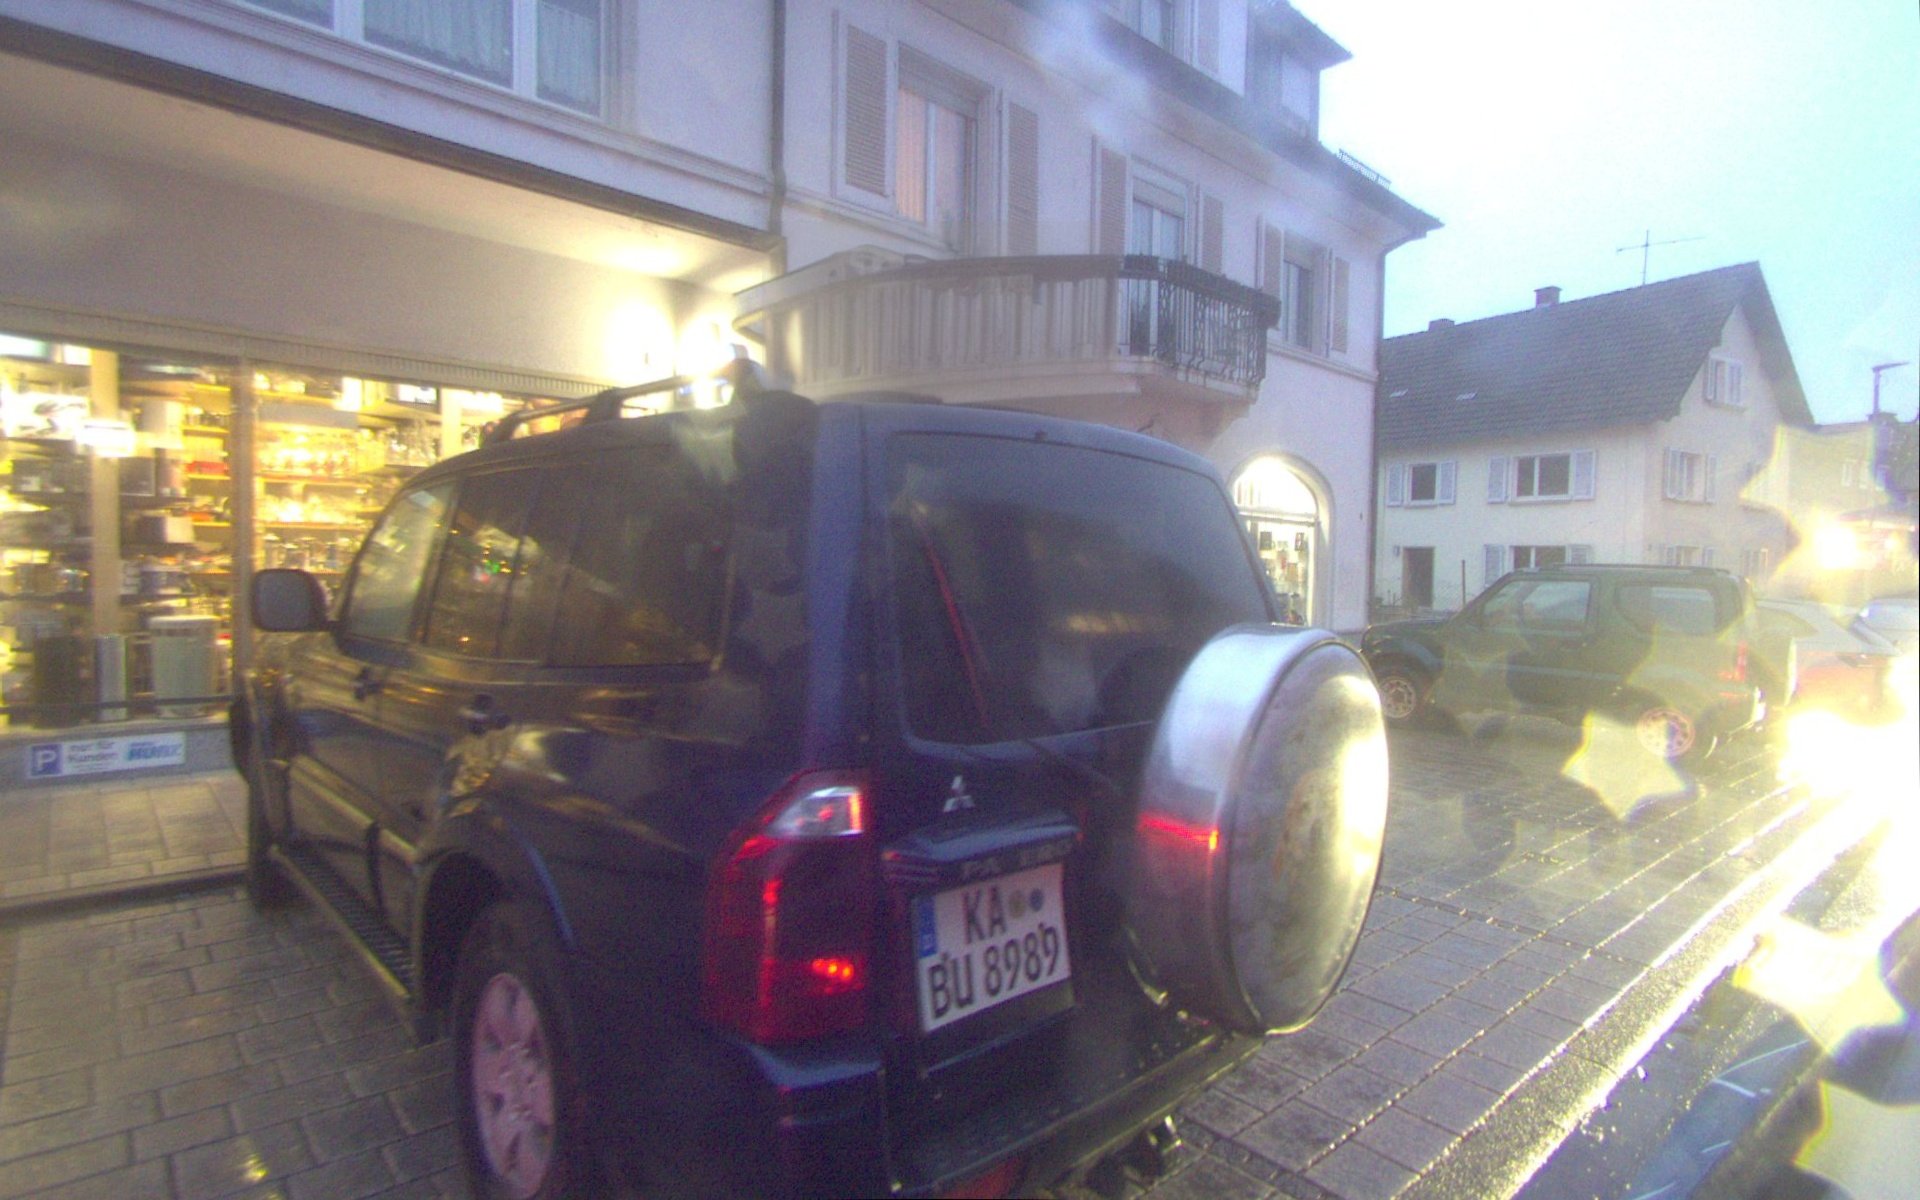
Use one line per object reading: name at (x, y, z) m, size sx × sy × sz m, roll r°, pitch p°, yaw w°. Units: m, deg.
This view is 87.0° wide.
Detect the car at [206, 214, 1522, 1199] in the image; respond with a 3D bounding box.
car at (-0.967, 0.391, 3.402) m, size 1.913 × 1.797 × 4.608 m, roll 1°, pitch 2°, yaw -44°

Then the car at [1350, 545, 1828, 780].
car at (5.832, 0.419, 9.631) m, size 1.688 × 1.701 × 3.507 m, roll 0°, pitch 4°, yaw -45°

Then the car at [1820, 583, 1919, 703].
car at (14.668, 0.612, 15.094) m, size 4.586 × 1.566 × 1.888 m, roll 1°, pitch 3°, yaw -38°

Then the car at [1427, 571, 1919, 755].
car at (7.985, 0.533, 11.468) m, size 1.865 × 1.491 × 4.476 m, roll 1°, pitch 3°, yaw -41°
